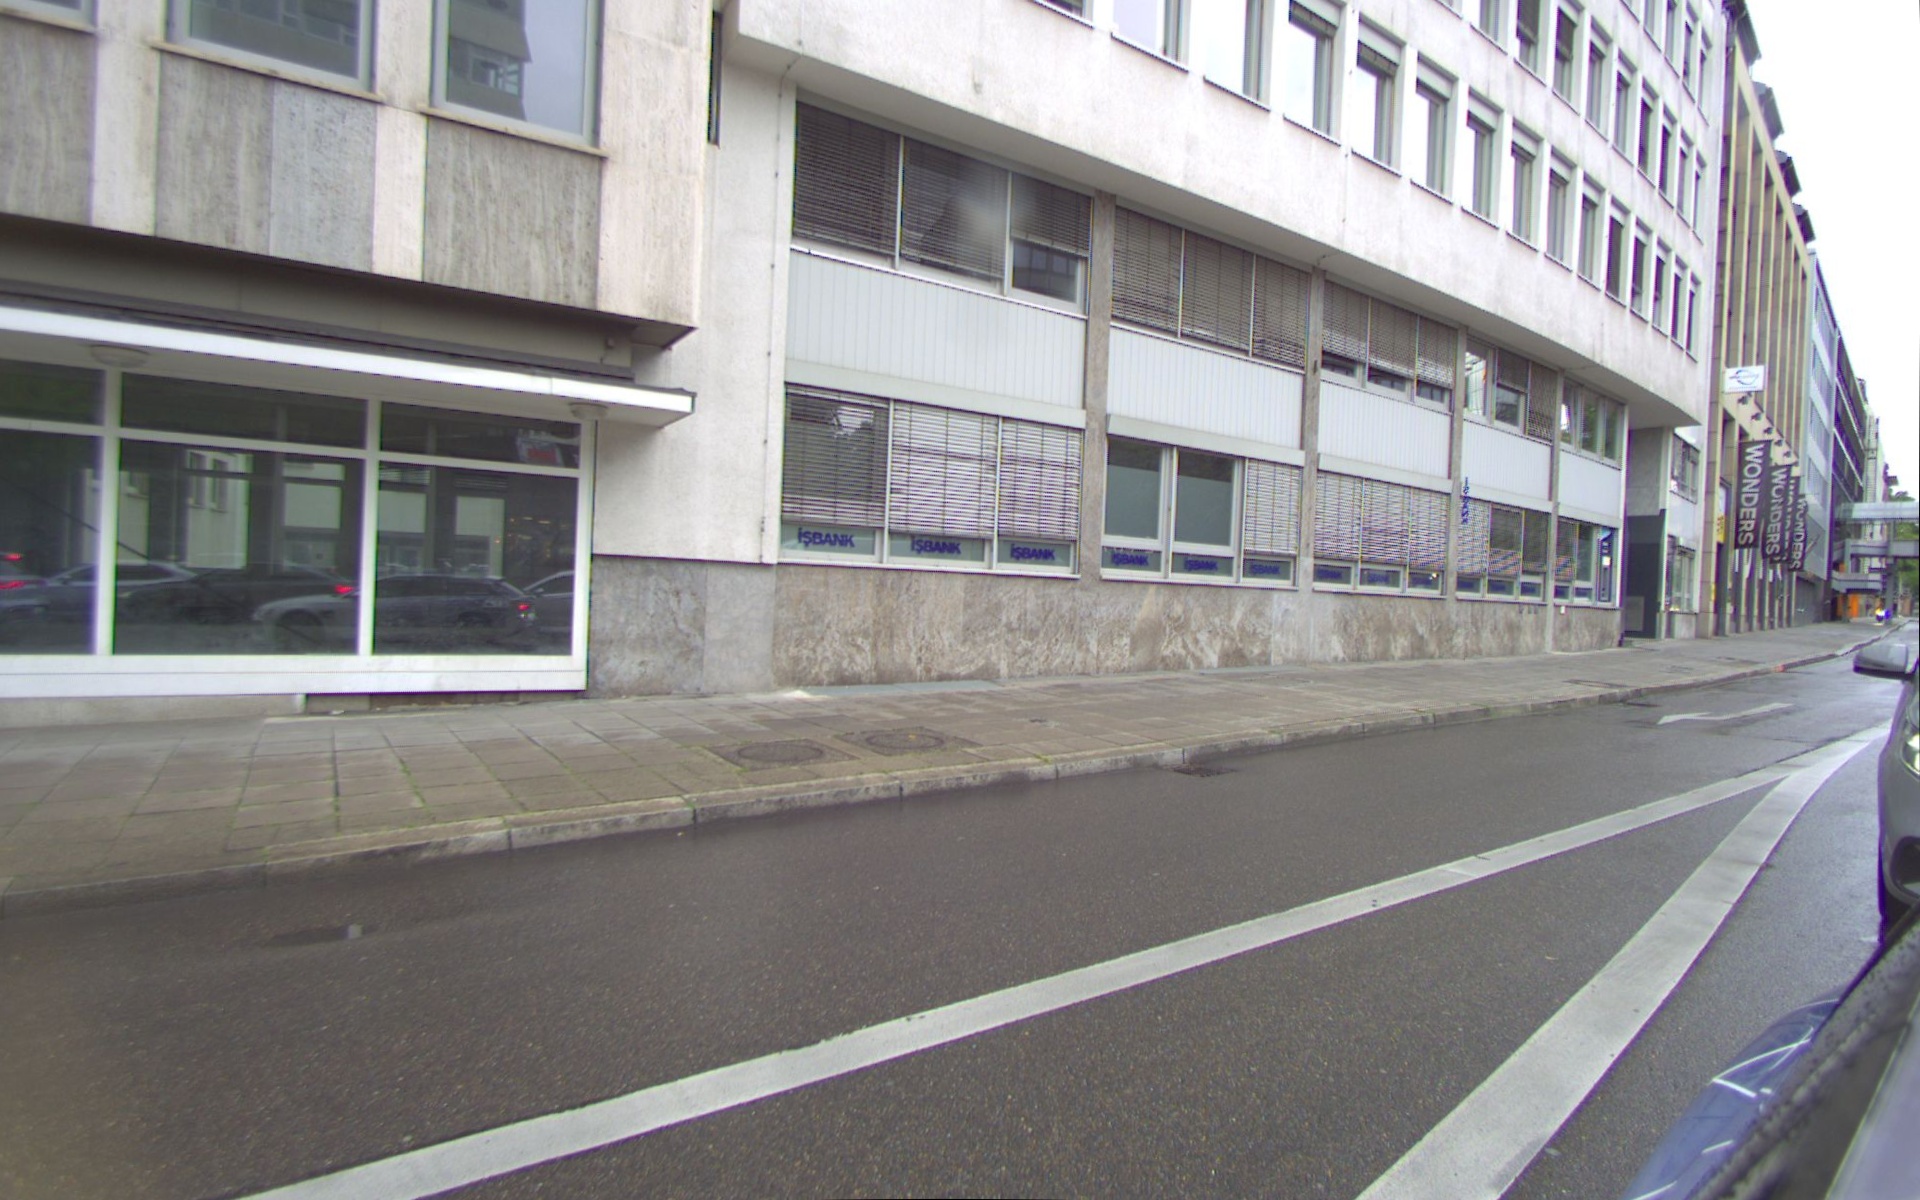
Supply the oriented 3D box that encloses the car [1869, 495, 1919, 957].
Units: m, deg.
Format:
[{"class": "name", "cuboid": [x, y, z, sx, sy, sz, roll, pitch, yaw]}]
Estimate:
[{"class": "car", "cuboid": [6.260, 0.525, 5.171, 4.940, 1.879, 1.914, 0, 0, -42]}]
